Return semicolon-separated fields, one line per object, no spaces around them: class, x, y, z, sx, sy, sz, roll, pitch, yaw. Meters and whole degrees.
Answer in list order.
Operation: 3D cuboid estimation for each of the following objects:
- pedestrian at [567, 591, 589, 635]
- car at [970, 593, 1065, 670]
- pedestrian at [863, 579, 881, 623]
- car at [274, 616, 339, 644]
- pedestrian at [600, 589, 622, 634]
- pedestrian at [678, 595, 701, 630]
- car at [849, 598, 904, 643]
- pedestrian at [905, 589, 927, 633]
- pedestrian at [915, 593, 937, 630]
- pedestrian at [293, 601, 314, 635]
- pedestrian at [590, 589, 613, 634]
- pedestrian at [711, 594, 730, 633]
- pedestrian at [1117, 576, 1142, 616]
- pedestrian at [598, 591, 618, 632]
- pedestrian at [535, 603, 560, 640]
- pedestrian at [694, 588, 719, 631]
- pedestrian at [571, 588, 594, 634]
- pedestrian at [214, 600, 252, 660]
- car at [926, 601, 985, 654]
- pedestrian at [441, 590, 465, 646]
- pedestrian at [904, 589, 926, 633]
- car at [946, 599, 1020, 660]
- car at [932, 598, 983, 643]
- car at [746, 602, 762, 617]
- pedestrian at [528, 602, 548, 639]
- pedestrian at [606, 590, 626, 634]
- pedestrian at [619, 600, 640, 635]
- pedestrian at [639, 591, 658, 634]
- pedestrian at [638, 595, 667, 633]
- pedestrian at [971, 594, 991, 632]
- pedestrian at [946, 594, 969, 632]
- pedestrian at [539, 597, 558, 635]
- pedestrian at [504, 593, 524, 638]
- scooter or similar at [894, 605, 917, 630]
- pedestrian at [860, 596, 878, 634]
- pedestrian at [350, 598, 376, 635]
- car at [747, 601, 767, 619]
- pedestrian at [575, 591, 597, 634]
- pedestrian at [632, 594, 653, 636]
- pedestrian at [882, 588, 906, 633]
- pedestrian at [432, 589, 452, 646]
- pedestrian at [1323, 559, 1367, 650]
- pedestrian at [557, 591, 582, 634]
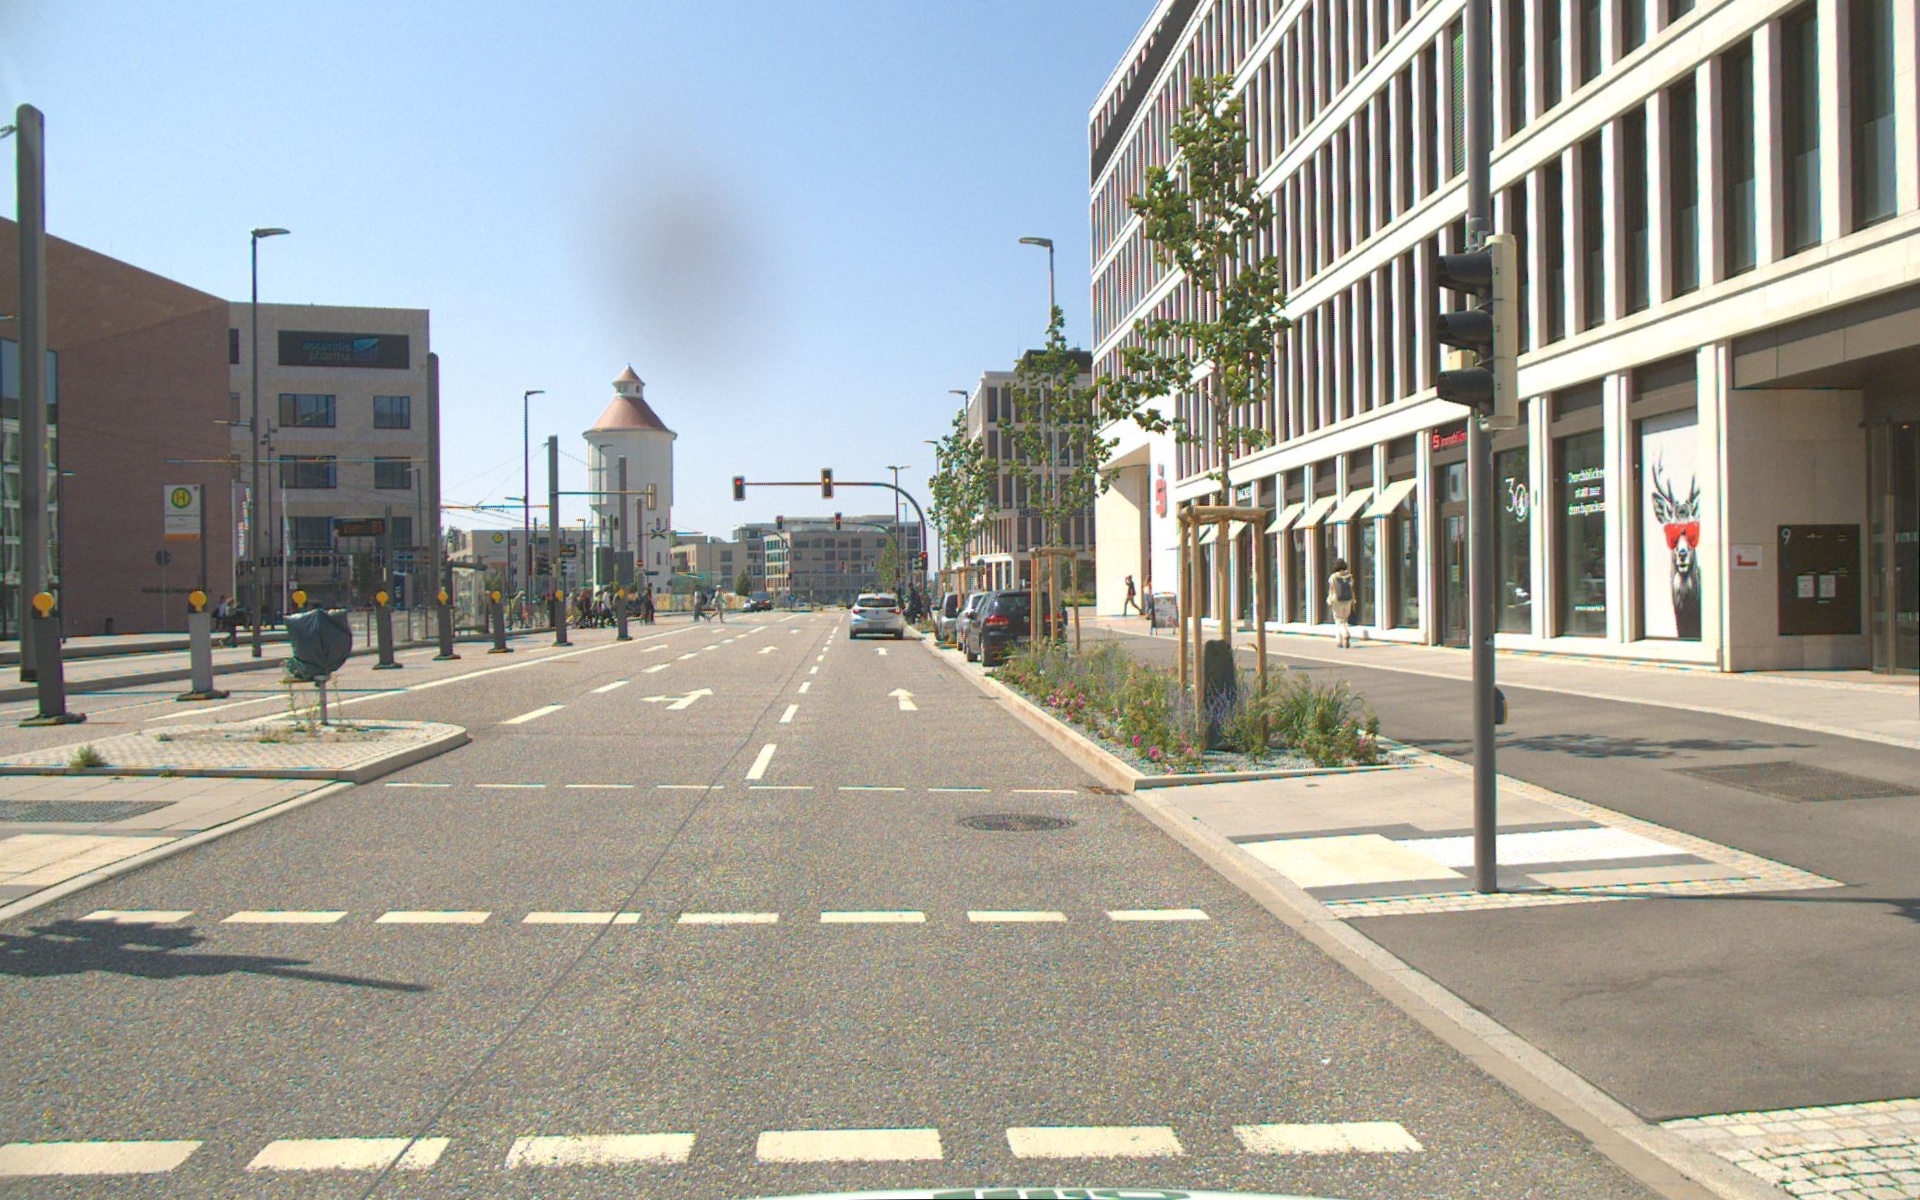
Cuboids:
pedestrian;-16.806;0.566;72.704;0.871;1.923;0.690;-1;0;-9
car;1.130;0.639;34.206;1.701;1.500;3.978;0;-1;-2
pedestrian;-3.869;0.044;72.627;0.715;1.923;0.821;-1;0;2
car;-44.596;2.047;112.917;3.877;1.848;1.790;0;-1;-16
pedestrian;-15.046;0.485;71.369;0.871;1.923;0.690;-1;0;-9
pedestrian;-12.986;0.598;79.522;0.881;1.703;1.006;-1;0;-22
car;-2.737;0.698;54.692;1.736;1.419;3.530;1;-2;-2
pedestrian;-1.948;0.484;73.548;0.871;1.923;0.795;-1;0;-9
pedestrian;-1.585;0.527;76.429;0.872;1.675;0.794;-1;0;-13
pedestrian;-31.926;0.873;80.420;0.697;1.599;0.890;-1;0;-4
pedestrian;-15.626;0.501;72.106;0.871;1.923;0.690;-1;0;-9
pedestrian;-11.124;0.630;76.849;0.751;1.764;0.691;-1;0;-3
pedestrian;7.281;-0.177;71.237;0.970;1.684;0.691;-1;0;-2
pedestrian;-16.364;0.537;76.890;0.719;1.923;0.713;1;-1;1
pedestrian;-18.915;0.964;75.824;0.892;1.665;0.814;-1;0;1
pedestrian;-12.262;0.444;80.037;1.006;2.049;0.948;-1;0;-22
pedestrian;-16.183;0.477;70.874;0.871;1.923;0.690;-1;0;-9
pedestrian;-22.790;0.937;51.859;0.795;1.852;0.824;1;-1;-3
car;-0.158;0.806;49.581;1.525;1.498;3.467;-1;0;-4
pedestrian;-16.848;0.597;54.984;0.655;1.852;0.717;1;-1;-26
pedestrian;-1.978;0.482;72.708;0.871;1.923;0.795;-1;0;-9
car;0.546;0.716;41.899;1.573;1.412;3.812;-2;0;-3
car;-0.110;0.656;54.314;1.401;1.414;3.997;-1;0;-4
car;-21.966;1.069;176.209;1.556;1.557;3.253;0;-1;-6
pedestrian;-18.704;0.894;73.289;0.713;1.603;0.641;-1;0;1
pedestrian;-15.468;0.540;74.395;0.751;1.923;0.691;-1;0;-3
pedestrian;-16.425;0.862;82.160;0.869;1.675;0.796;-1;0;0
pedestrian;-14.221;0.569;75.537;0.751;1.923;0.691;-1;0;-3
pedestrian;-15.137;0.693;81.410;1.156;1.852;1.068;-1;0;0
pedestrian;0.947;0.577;73.976;0.750;1.648;0.692;-1;0;13
pedestrian;-0.111;0.567;73.005;0.871;1.663;0.690;-1;0;-9
pedestrian;-17.935;0.695;72.113;0.620;1.646;0.768;-1;0;2
pedestrian;-19.275;0.675;71.456;0.624;1.923;0.796;-1;0;-2
scooter or similar;-2.524;0.811;76.233;0.934;1.137;0.764;-1;0;-13
pedestrian;-4.055;0.651;73.672;0.778;1.675;0.890;-1;0;-2
pedestrian;-31.746;0.868;88.022;0.869;1.923;0.984;-1;0;16
car;-18.275;0.887;149.016;1.555;1.557;3.689;0;-1;-5
pedestrian;-17.014;0.560;75.266;0.870;1.923;0.796;-1;0;-4
pedestrian;-14.668;0.671;76.417;0.824;1.923;0.691;-1;0;-3
pedestrian;-2.862;0.465;71.687;0.994;1.923;0.797;-1;0;-7
pedestrian;-16.963;0.587;54.198;0.542;1.852;0.595;1;-1;-25
pedestrian;7.604;0.087;32.714;0.615;1.773;0.813;-1;0;-4
pedestrian;-17.546;0.559;74.344;0.869;1.923;0.796;-1;0;1
